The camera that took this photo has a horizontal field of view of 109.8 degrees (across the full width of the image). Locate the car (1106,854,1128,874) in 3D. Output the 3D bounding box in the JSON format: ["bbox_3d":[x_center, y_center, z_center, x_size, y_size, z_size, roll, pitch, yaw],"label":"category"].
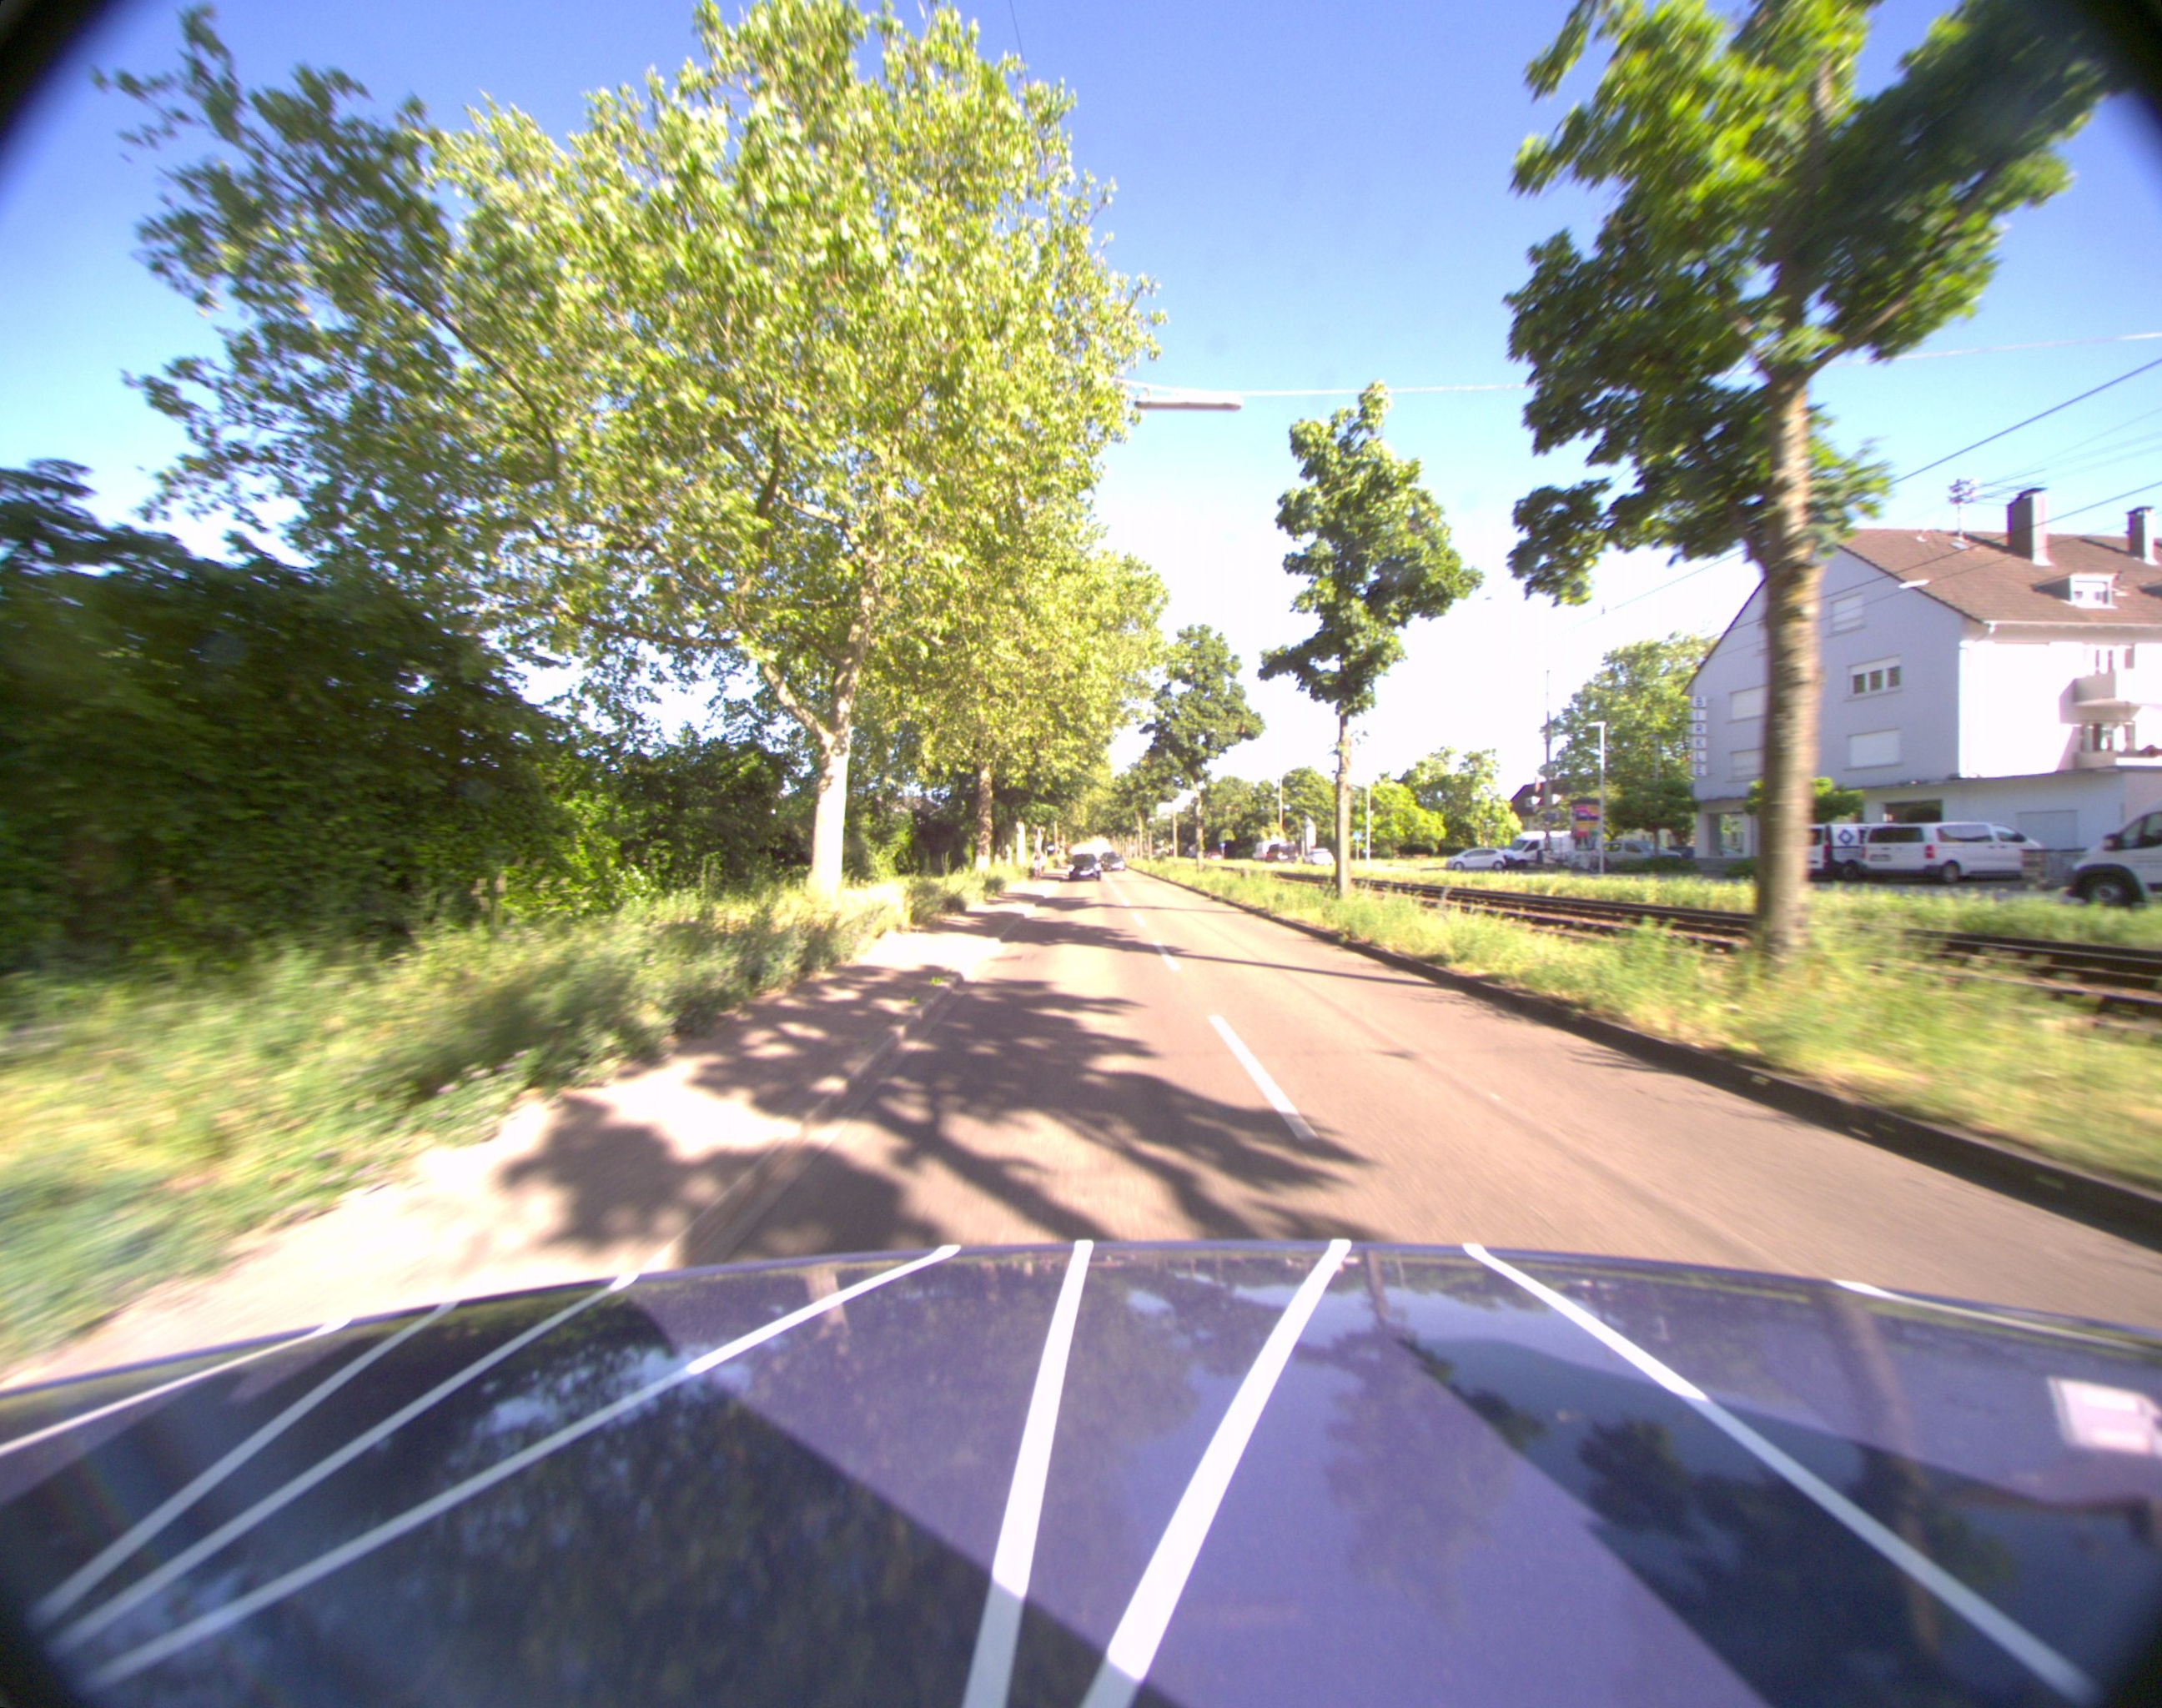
[{"bbox_3d":[2.917,0.765,62.533,1.714,1.478,3.546,-2,1,2],"label":"car"}]

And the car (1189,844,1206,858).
[{"bbox_3d":[22.910,-0.590,149.807,2.231,2.565,6.798,-2,0,1],"label":"car"}]

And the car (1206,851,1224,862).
[{"bbox_3d":[17.751,0.284,100.825,1.680,1.401,4.000,-1,0,1],"label":"car"}]

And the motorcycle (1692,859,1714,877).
[{"bbox_3d":[30.828,0.701,37.681,0.893,0.847,0.311,-1,1,-7],"label":"motorcycle"}]

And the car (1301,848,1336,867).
[{"bbox_3d":[22.165,0.319,71.184,1.827,1.598,4.773,-2,1,1],"label":"car"}]

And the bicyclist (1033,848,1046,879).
[{"bbox_3d":[-2.224,0.505,40.735,0.615,1.619,0.909,-1,1,1],"label":"bicyclist"}]

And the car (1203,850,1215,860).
[{"bbox_3d":[22.732,0.169,135.030,1.678,1.575,4.248,-2,1,2],"label":"car"}]

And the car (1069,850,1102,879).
[{"bbox_3d":[0.247,0.590,43.487,1.808,1.478,3.546,-2,1,0],"label":"car"}]

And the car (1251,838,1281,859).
[{"bbox_3d":[22.444,-0.701,92.390,2.007,2.482,6.136,-2,1,0],"label":"car"}]

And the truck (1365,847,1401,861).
[{"bbox_3d":[46.296,-0.033,116.581,4.946,1.858,2.080,-2,1,-19],"label":"truck"}]

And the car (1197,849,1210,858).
[{"bbox_3d":[22.914,-0.095,142.361,1.626,1.613,4.532,-2,1,0],"label":"car"}]

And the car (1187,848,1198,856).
[{"bbox_3d":[23.750,-0.452,161.830,1.772,1.554,4.282,-2,1,3],"label":"car"}]

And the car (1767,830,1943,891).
[{"bbox_3d":[26.901,0.196,26.478,4.633,1.934,1.998,-2,1,-10],"label":"car"}]

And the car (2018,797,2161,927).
[{"bbox_3d":[21.381,0.137,13.201,1.998,2.445,6.673,-2,1,0],"label":"car"}]

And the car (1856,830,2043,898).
[{"bbox_3d":[27.242,0.275,23.897,4.151,1.941,1.998,-2,1,-10],"label":"car"}]

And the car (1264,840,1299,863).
[{"bbox_3d":[22.246,-0.295,84.398,2.188,2.362,6.464,-2,1,1],"label":"car"}]

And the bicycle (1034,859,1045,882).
[{"bbox_3d":[-2.202,0.890,40.748,0.441,1.146,1.823,-2,1,1],"label":"bicycle"}]

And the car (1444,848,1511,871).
[{"bbox_3d":[26.307,0.384,50.551,3.620,1.469,1.752,-1,1,12],"label":"car"}]

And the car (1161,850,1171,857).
[{"bbox_3d":[19.300,-0.218,172.113,1.998,1.522,3.751,-1,0,2],"label":"car"}]

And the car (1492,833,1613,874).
[{"bbox_3d":[32.640,-0.035,52.738,7.086,2.493,2.329,-2,1,-4],"label":"car"}]

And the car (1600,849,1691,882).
[{"bbox_3d":[32.085,0.611,43.361,1.801,1.661,4.096,-2,1,-8],"label":"car"}]
